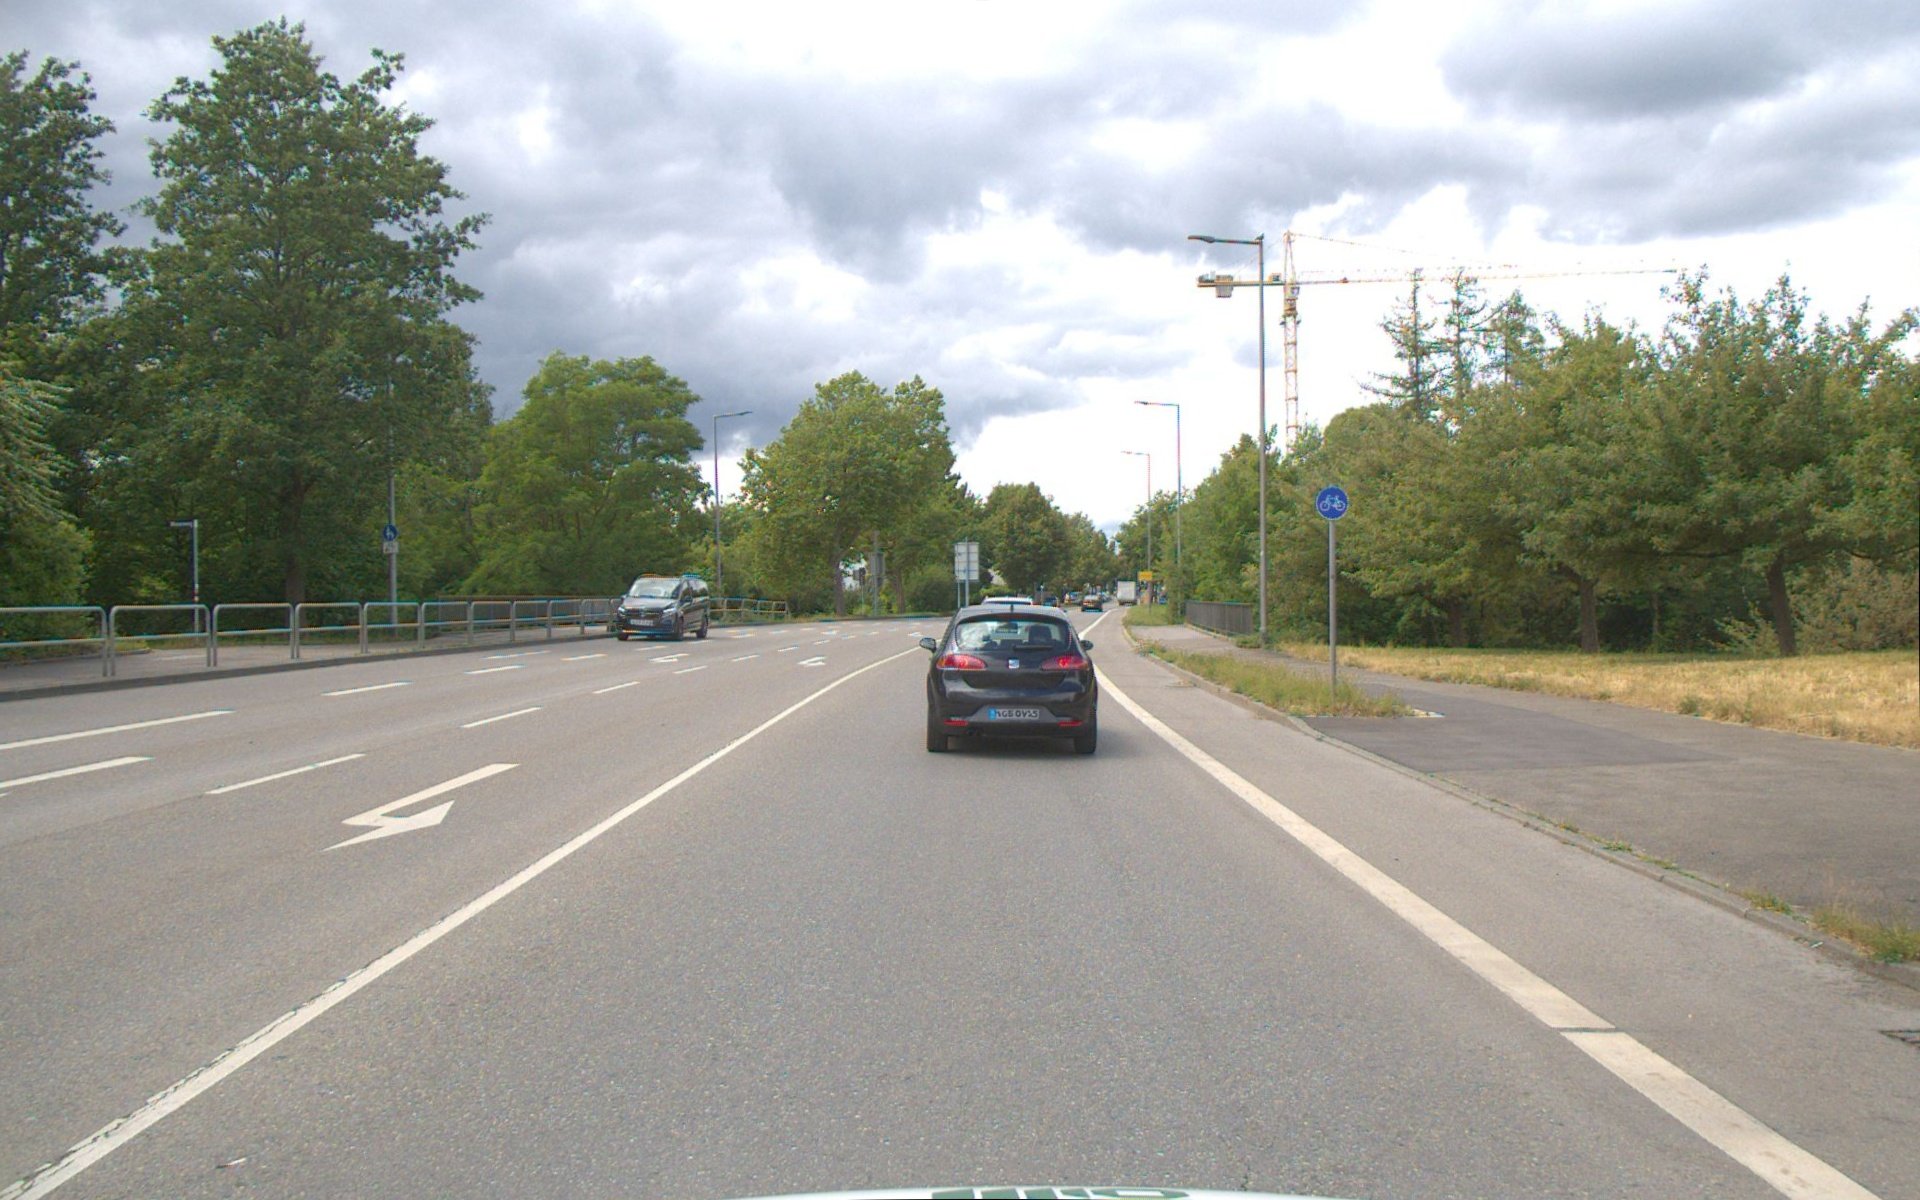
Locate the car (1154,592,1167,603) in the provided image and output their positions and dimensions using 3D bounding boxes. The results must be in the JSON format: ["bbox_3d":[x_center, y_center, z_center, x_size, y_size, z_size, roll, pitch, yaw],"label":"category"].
[{"bbox_3d":[26.628,-0.322,219.933,1.652,1.516,3.357,-1,0,8],"label":"car"}]

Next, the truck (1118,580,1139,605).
[{"bbox_3d":[22.040,-0.948,216.347,2.230,3.158,8.517,1,0,8],"label":"truck"}]

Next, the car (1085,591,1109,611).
[{"bbox_3d":[12.125,0.064,146.548,1.841,1.718,4.217,-1,0,8],"label":"car"}]

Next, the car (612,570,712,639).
[{"bbox_3d":[-8.984,0.125,50.318,1.976,1.981,5.365,0,0,1],"label":"car"}]

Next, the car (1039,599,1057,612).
[{"bbox_3d":[10.622,0.677,198.435,1.681,1.419,4.805,-2,0,8],"label":"car"}]

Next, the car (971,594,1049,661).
[{"bbox_3d":[1.228,0.636,40.439,1.808,1.536,3.813,1,0,2],"label":"car"}]

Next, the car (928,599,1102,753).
[{"bbox_3d":[0.553,0.715,17.560,1.628,1.426,3.812,1,0,1],"label":"car"}]

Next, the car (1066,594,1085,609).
[{"bbox_3d":[15.894,0.249,226.982,2.055,1.929,5.789,-2,0,8],"label":"car"}]
